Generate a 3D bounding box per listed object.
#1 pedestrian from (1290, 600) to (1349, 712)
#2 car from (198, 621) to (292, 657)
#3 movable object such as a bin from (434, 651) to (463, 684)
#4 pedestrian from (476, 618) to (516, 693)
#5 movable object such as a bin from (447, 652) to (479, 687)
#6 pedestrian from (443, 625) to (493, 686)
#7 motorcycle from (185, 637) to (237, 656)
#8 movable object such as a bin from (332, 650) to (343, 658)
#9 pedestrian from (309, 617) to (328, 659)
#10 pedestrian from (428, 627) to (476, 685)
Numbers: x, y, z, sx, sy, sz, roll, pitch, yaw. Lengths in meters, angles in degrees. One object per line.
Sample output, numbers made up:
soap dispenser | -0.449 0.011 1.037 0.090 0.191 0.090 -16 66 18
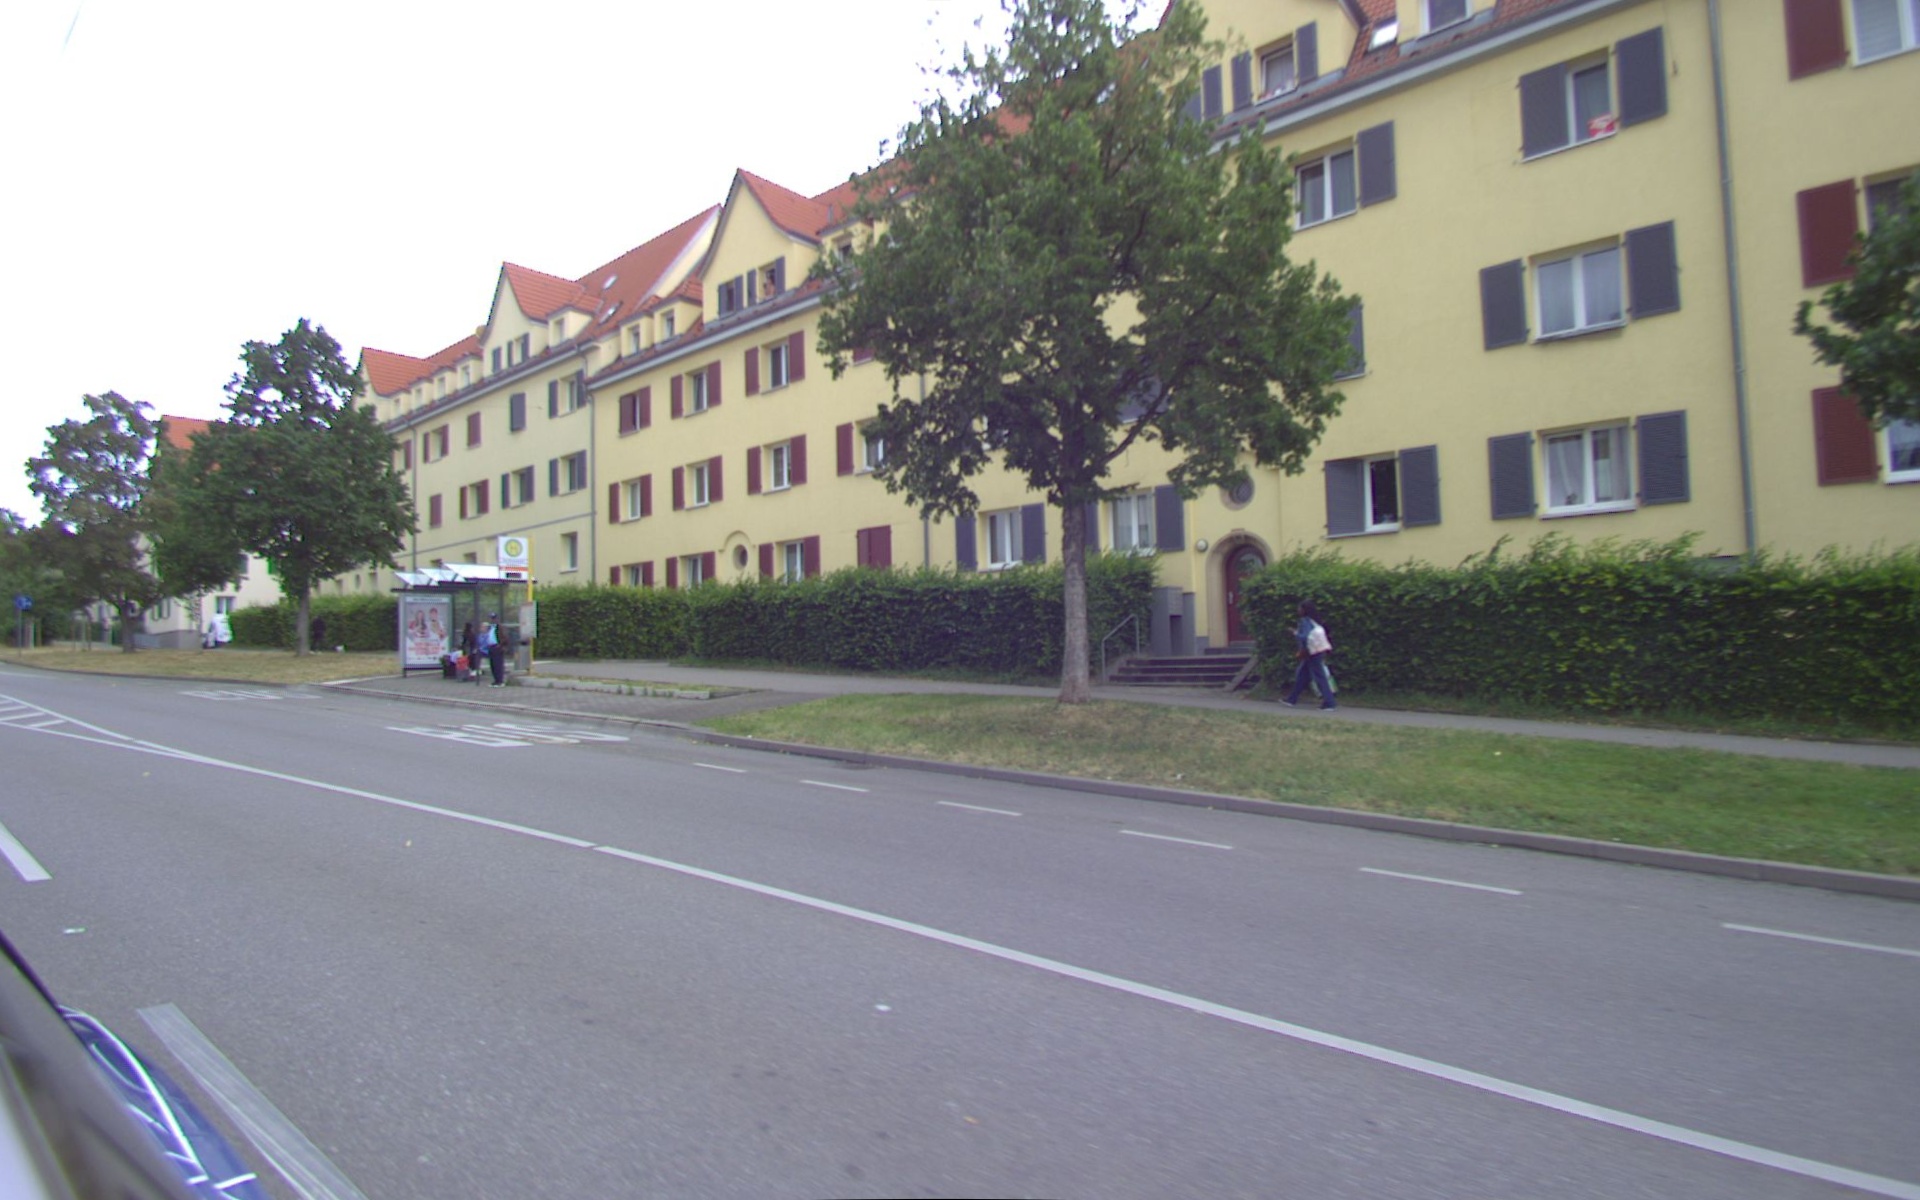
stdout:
pedestrian | 5.383 0.824 15.143 0.617 1.631 0.634 -2 -2 40
car | -46.823 2.572 66.370 1.994 2.270 4.668 -2 -3 41
movable object such as a bin | -13.519 1.787 26.751 0.665 0.832 0.459 -2 -1 42
pedestrian | -11.116 1.318 24.222 0.861 1.740 0.591 -2 -2 43
movable object such as a bin | -12.818 1.785 26.086 0.665 0.852 0.531 -2 -1 42
pedestrian | -12.729 1.420 26.181 0.806 1.521 0.890 -2 -1 41
motorcycle | -50.091 3.104 67.679 2.561 1.288 1.020 1 -2 -16
movable object such as a bin | -27.016 2.352 43.897 0.303 0.350 0.582 1 -2 -44
pedestrian | -27.756 1.638 43.777 0.753 1.793 0.508 -2 -2 40
pedestrian | -13.481 1.466 26.851 0.806 1.485 0.890 -2 -1 41
